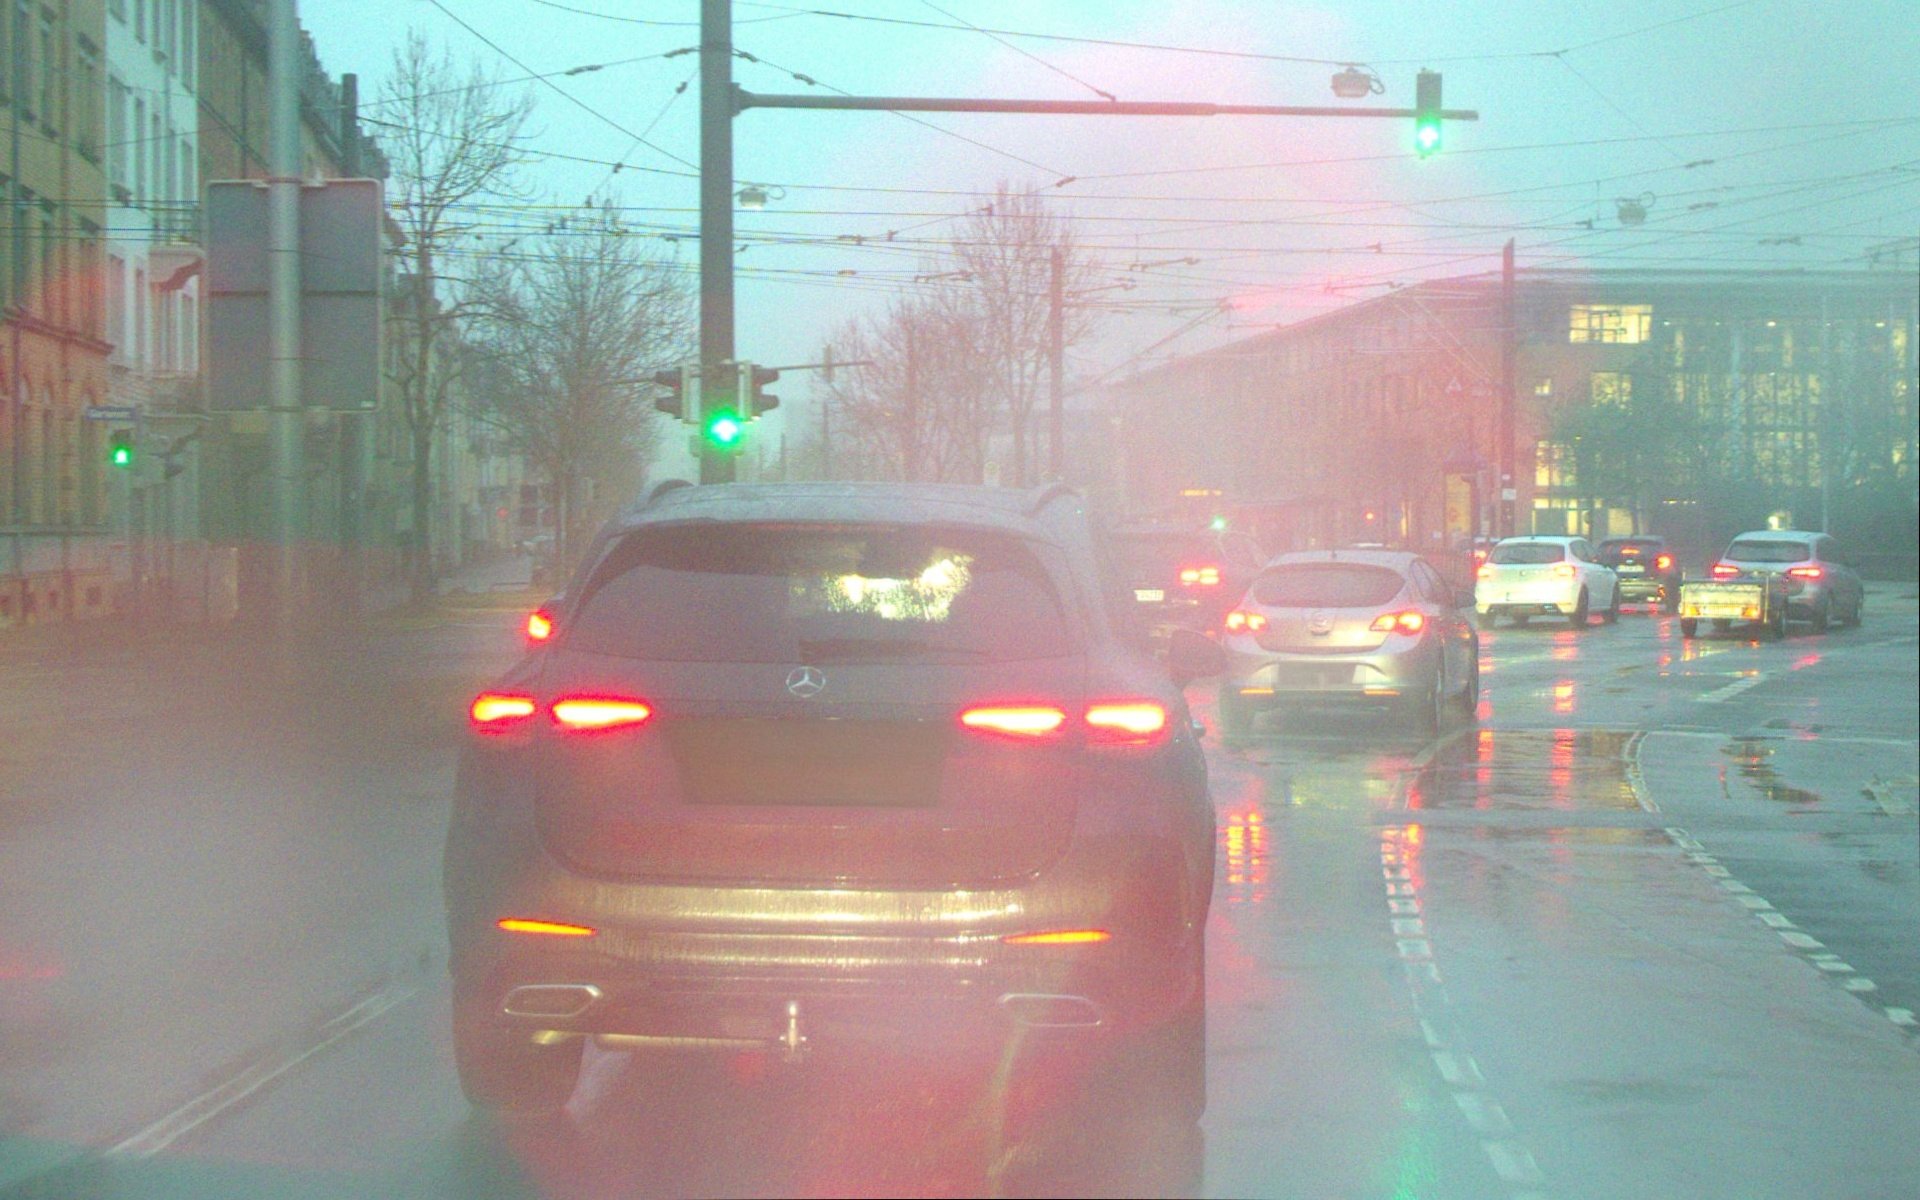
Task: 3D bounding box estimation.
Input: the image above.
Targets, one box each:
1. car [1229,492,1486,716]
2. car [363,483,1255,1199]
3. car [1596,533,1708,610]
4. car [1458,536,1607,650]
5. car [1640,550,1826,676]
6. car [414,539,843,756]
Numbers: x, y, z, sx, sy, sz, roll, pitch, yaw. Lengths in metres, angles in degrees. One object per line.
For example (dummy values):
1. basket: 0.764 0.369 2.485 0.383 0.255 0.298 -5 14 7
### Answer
1. car: 3.439 -0.018 29.149 1.994 1.759 3.999 0 1 9
2. car: -0.380 0.500 9.713 1.990 1.610 4.000 0 1 -1
3. car: 13.364 -0.574 66.240 1.863 1.405 3.941 0 1 15
4. car: 9.334 -0.144 55.814 1.995 1.759 3.997 0 1 15
5. car: 11.546 0.150 51.177 1.996 1.759 3.995 0 1 23
6. car: -2.266 0.275 24.671 1.994 1.393 3.998 0 1 11
